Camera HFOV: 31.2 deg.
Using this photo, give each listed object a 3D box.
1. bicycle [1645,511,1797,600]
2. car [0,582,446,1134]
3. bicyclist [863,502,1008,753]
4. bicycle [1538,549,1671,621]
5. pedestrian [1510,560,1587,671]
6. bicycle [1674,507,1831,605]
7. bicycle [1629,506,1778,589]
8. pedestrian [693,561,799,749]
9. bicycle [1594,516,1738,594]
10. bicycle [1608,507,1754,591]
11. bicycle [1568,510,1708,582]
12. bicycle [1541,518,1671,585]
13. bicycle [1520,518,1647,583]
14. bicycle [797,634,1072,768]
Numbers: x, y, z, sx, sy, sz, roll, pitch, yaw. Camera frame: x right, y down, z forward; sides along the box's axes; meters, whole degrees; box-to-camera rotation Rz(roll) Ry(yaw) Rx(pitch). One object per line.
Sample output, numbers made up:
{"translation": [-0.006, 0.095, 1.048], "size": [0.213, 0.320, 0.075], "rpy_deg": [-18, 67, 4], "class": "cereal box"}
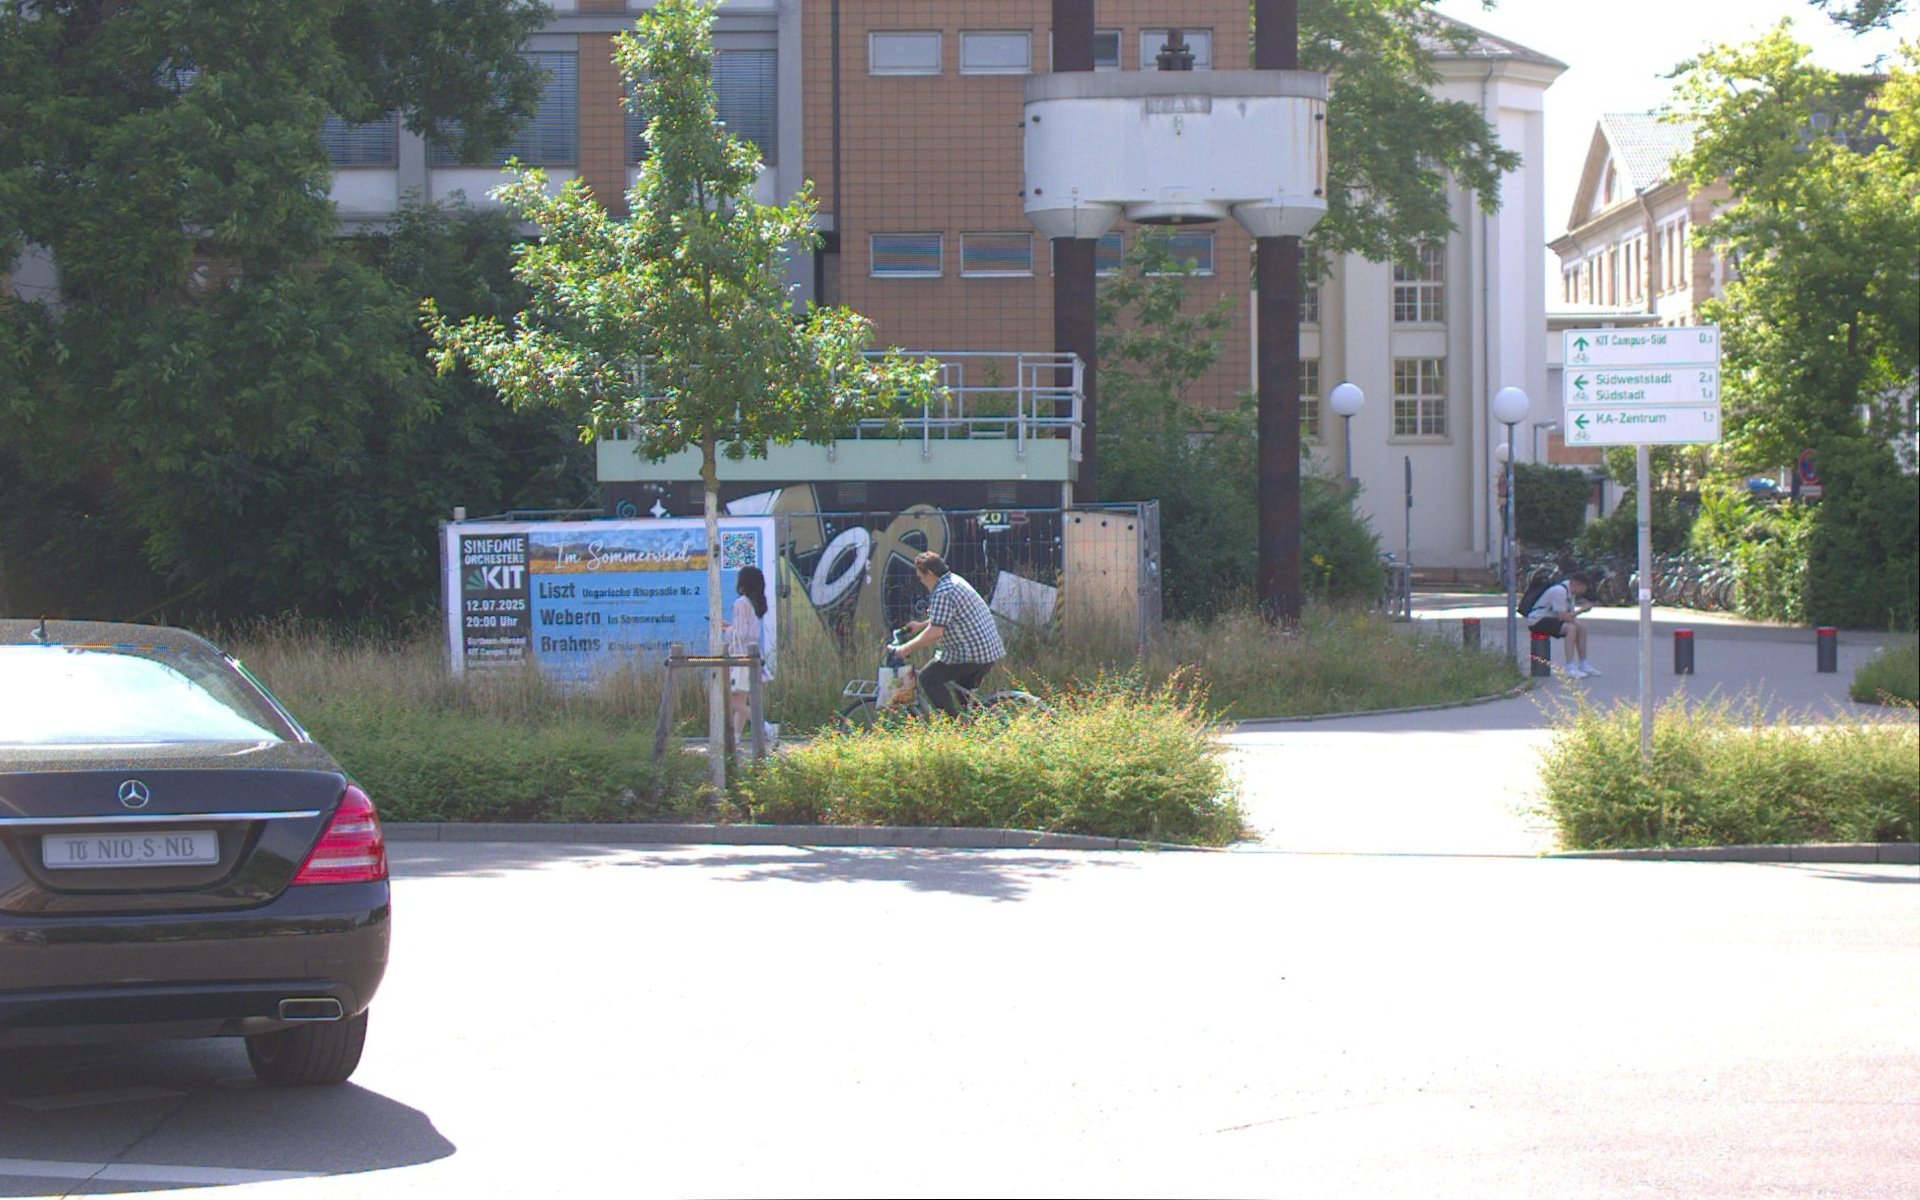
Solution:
{"translation": [15.135, -0.888, 68.386], "size": [2.823, 1.738, 0.842], "rpy_deg": [-1, 1, 1], "class": "bicycle"}
{"translation": [-3.357, 0.752, 11.798], "size": [1.858, 1.525, 4.714], "rpy_deg": [2, -1, -25], "class": "car"}
{"translation": [-0.181, 0.203, 26.290], "size": [0.857, 1.872, 0.687], "rpy_deg": [-2, 1, 19], "class": "bicyclist"}
{"translation": [14.475, -0.347, 77.255], "size": [2.823, 1.553, 0.842], "rpy_deg": [-1, 1, 1], "class": "bicycle"}
{"translation": [6.618, 0.168, 38.690], "size": [0.793, 1.209, 0.757], "rpy_deg": [2, 1, 8], "class": "pedestrian"}
{"translation": [15.230, -0.855, 66.123], "size": [2.823, 1.830, 0.842], "rpy_deg": [-1, 1, 1], "class": "bicycle"}
{"translation": [15.073, -1.062, 69.715], "size": [2.823, 1.643, 0.842], "rpy_deg": [-1, 1, 1], "class": "bicycle"}
{"translation": [-1.823, 0.462, 29.365], "size": [0.811, 1.574, 0.692], "rpy_deg": [0, 1, 3], "class": "pedestrian"}
{"translation": [14.768, -0.944, 71.923], "size": [2.823, 1.581, 0.842], "rpy_deg": [-1, 1, 1], "class": "bicycle"}
{"translation": [14.842, -1.056, 70.851], "size": [2.823, 1.653, 0.842], "rpy_deg": [-1, 3, 1], "class": "bicycle"}
{"translation": [14.561, -1.164, 73.855], "size": [2.823, 1.502, 0.842], "rpy_deg": [-1, 1, 1], "class": "bicycle"}
{"translation": [14.877, -1.112, 79.158], "size": [2.823, 1.495, 0.842], "rpy_deg": [-1, 1, 1], "class": "bicycle"}
{"translation": [14.663, -1.170, 80.879], "size": [2.823, 1.475, 0.842], "rpy_deg": [-1, 1, 1], "class": "bicycle"}
{"translation": [-0.193, 0.774, 26.308], "size": [1.954, 0.943, 0.694], "rpy_deg": [-2, 1, 20], "class": "bicycle"}
